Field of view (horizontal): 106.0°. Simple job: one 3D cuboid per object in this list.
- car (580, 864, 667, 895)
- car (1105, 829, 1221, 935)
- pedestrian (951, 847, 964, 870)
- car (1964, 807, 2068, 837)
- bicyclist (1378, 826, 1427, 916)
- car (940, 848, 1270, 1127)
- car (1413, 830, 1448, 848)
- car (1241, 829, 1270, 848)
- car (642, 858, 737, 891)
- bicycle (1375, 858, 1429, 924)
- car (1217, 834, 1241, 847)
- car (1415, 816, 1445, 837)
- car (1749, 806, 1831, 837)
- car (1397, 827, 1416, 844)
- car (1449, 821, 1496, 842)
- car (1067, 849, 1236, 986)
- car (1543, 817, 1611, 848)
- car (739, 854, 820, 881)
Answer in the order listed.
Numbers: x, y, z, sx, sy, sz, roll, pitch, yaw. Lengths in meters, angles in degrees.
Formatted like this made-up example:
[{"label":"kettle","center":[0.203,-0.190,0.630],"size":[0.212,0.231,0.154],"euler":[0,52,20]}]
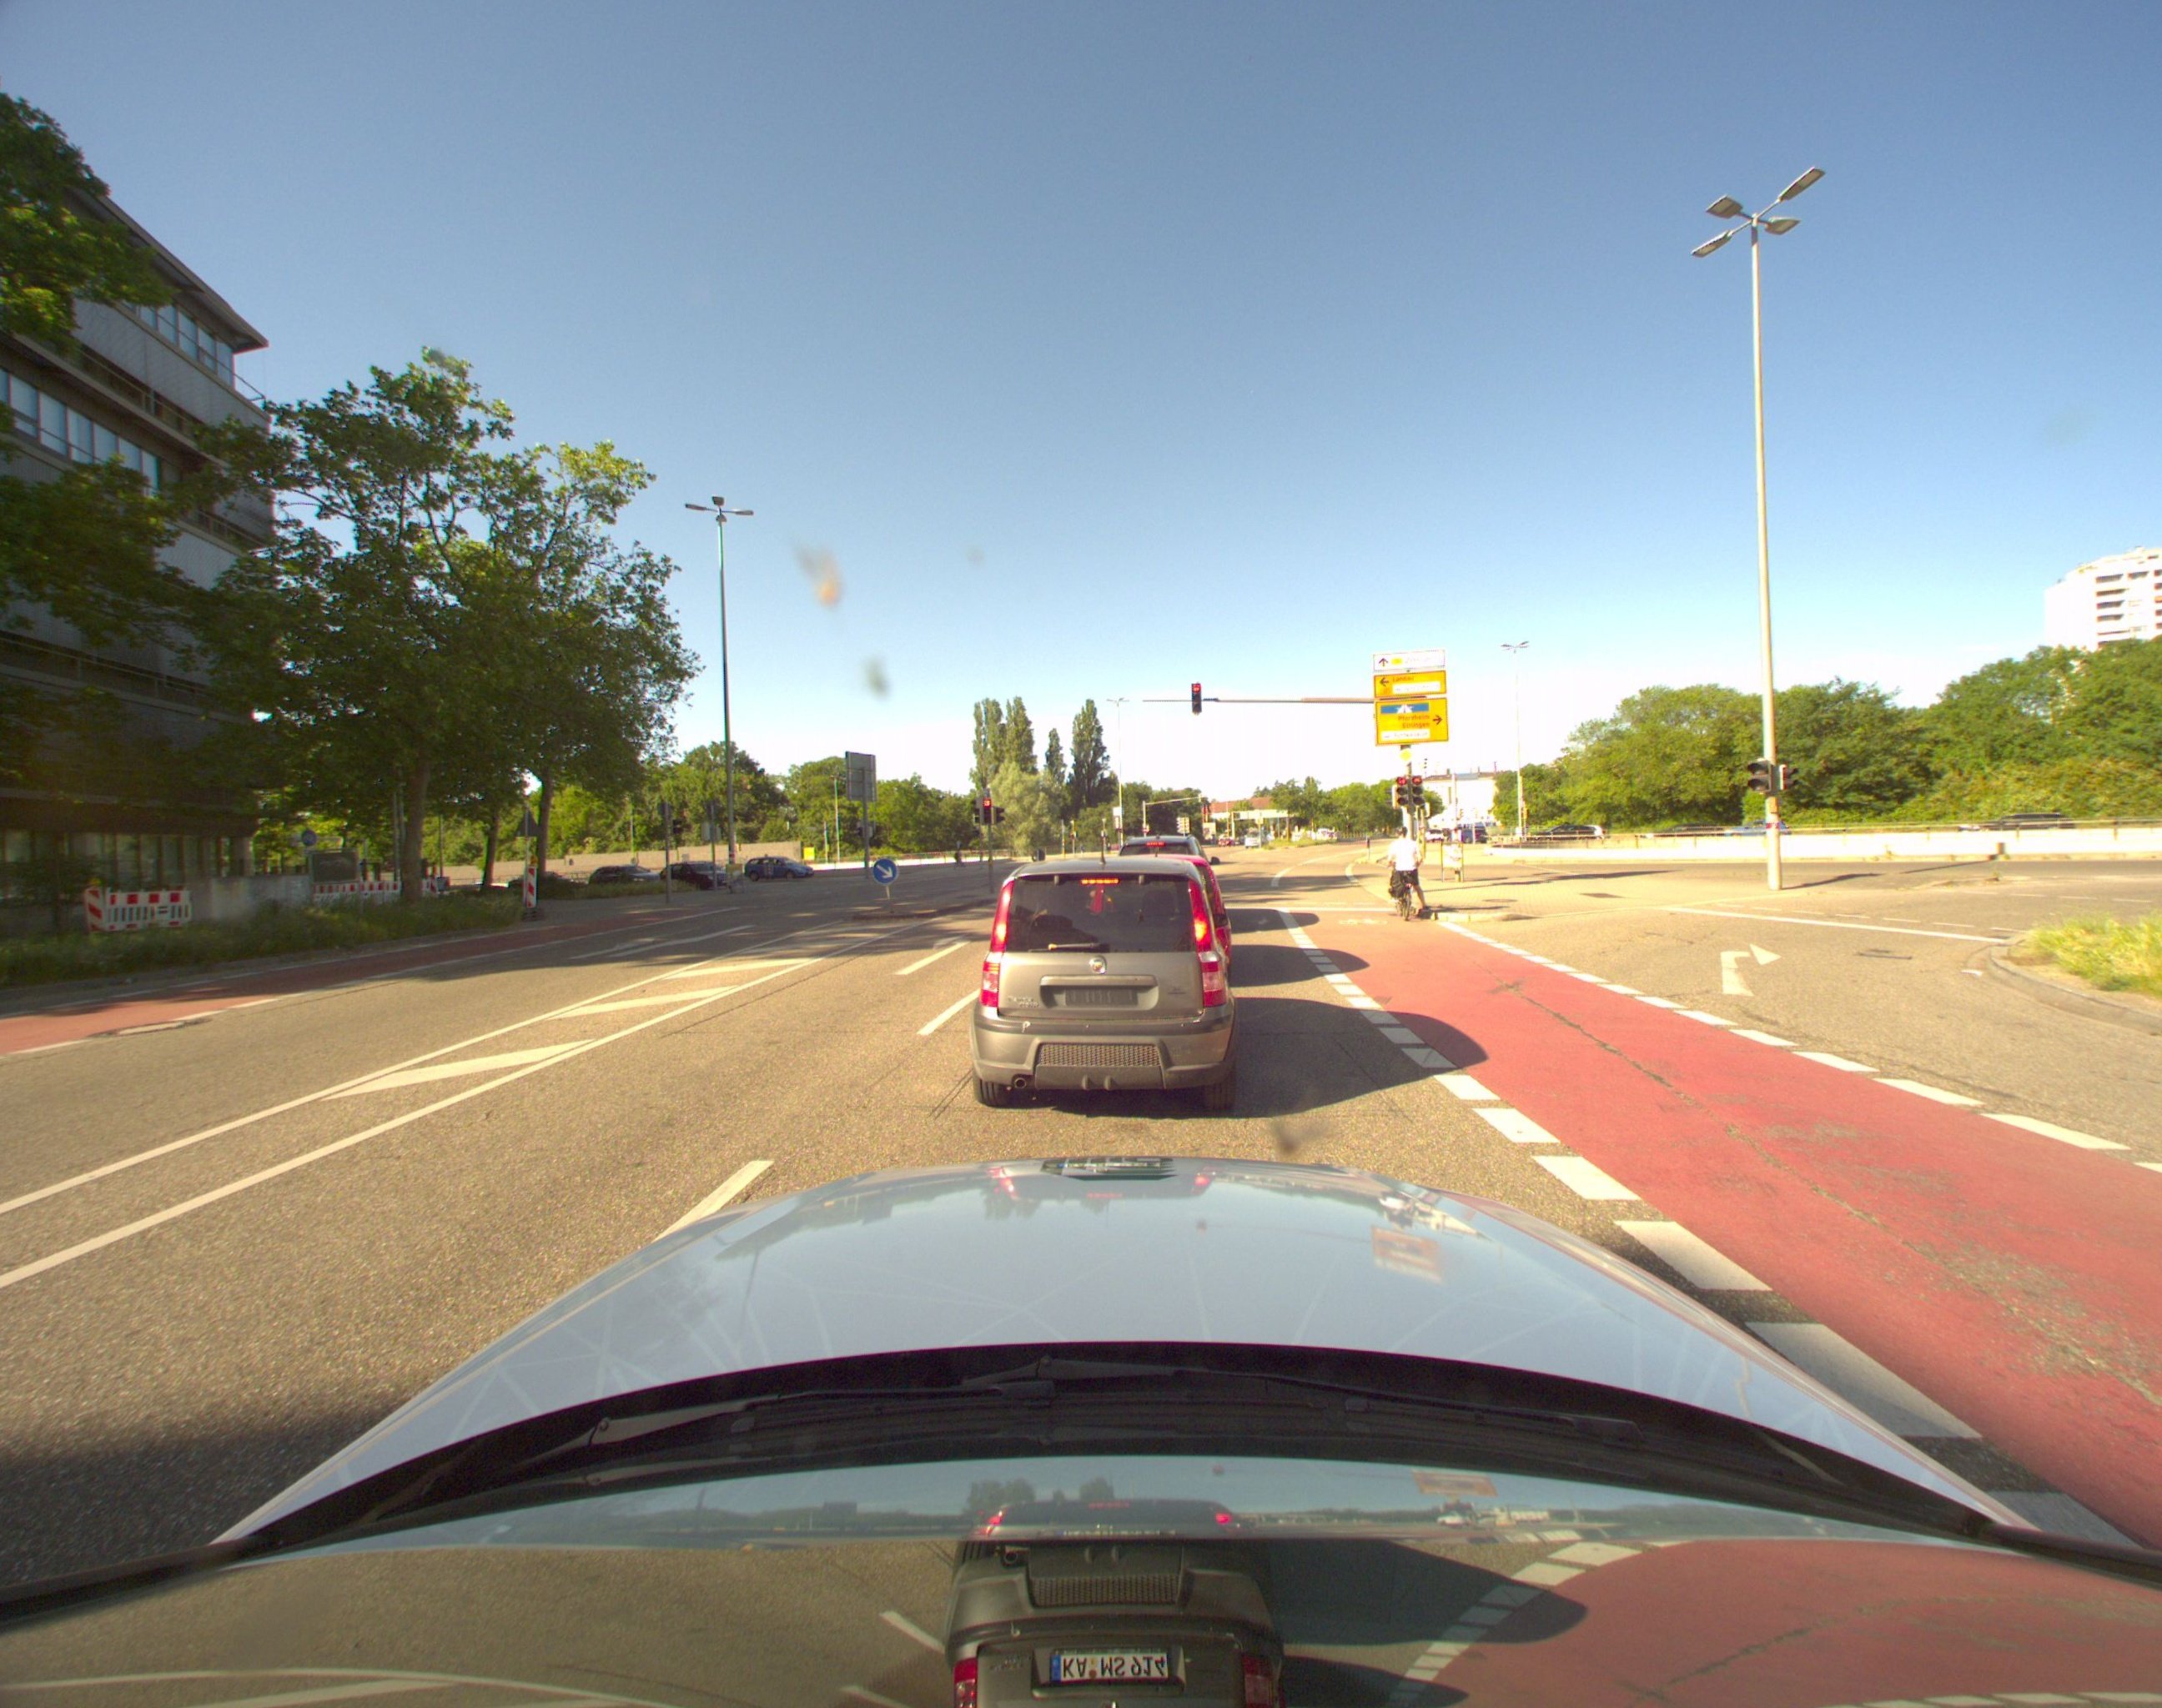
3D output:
[{"label":"car","center":[-24.961,1.386,44.414],"size":[4.396,1.438,1.836],"euler":[-2,1,24]},{"label":"car","center":[1.771,0.443,16.179],"size":[1.857,1.790,4.428],"euler":[0,1,11]},{"label":"pedestrian","center":[-8.862,0.328,58.483],"size":[0.684,1.538,1.365],"euler":[-1,-3,0]},{"label":"car","center":[57.824,-1.970,50.465],"size":[3.948,1.618,1.739],"euler":[-1,1,39]},{"label":"bicyclist","center":[6.324,0.309,15.988],"size":[0.792,1.705,1.092],"euler":[-1,1,25]},{"label":"car","center":[0.312,0.706,6.469],"size":[1.811,1.489,4.006],"euler":[0,1,5]},{"label":"car","center":[37.234,-1.573,86.783],"size":[1.987,1.750,3.999],"euler":[-1,-2,0]},{"label":"car","center":[19.178,-1.665,89.416],"size":[1.994,1.855,4.914],"euler":[-2,-2,26]},{"label":"car","center":[-19.643,1.036,40.856],"size":[4.396,1.438,1.836],"euler":[-2,1,24]},{"label":"bicycle","center":[6.335,0.683,16.002],"size":[0.792,1.110,2.416],"euler":[-1,1,26]},{"label":"car","center":[22.303,-2.004,122.571],"size":[1.994,1.855,4.915],"euler":[-2,-2,28]},{"label":"car","center":[49.454,-3.841,115.367],"size":[2.233,2.607,4.915],"euler":[-3,-2,44]},{"label":"car","center":[49.409,-2.243,56.781],"size":[4.206,1.855,2.032],"euler":[-3,-2,42]},{"label":"car","center":[39.823,-2.232,99.636],"size":[1.976,1.750,4.022],"euler":[-2,-2,23]},{"label":"car","center":[37.612,-2.117,78.375],"size":[2.007,1.854,4.885],"euler":[-2,1,-1]},{"label":"car","center":[0.926,0.682,10.815],"size":[1.811,1.479,4.005],"euler":[0,0,5]},{"label":"car","center":[36.389,-1.548,59.735],"size":[3.948,2.014,2.012],"euler":[-3,-2,40]},{"label":"car","center":[-18.831,0.823,50.914],"size":[4.404,1.438,1.833],"euler":[-2,0,14]}]
